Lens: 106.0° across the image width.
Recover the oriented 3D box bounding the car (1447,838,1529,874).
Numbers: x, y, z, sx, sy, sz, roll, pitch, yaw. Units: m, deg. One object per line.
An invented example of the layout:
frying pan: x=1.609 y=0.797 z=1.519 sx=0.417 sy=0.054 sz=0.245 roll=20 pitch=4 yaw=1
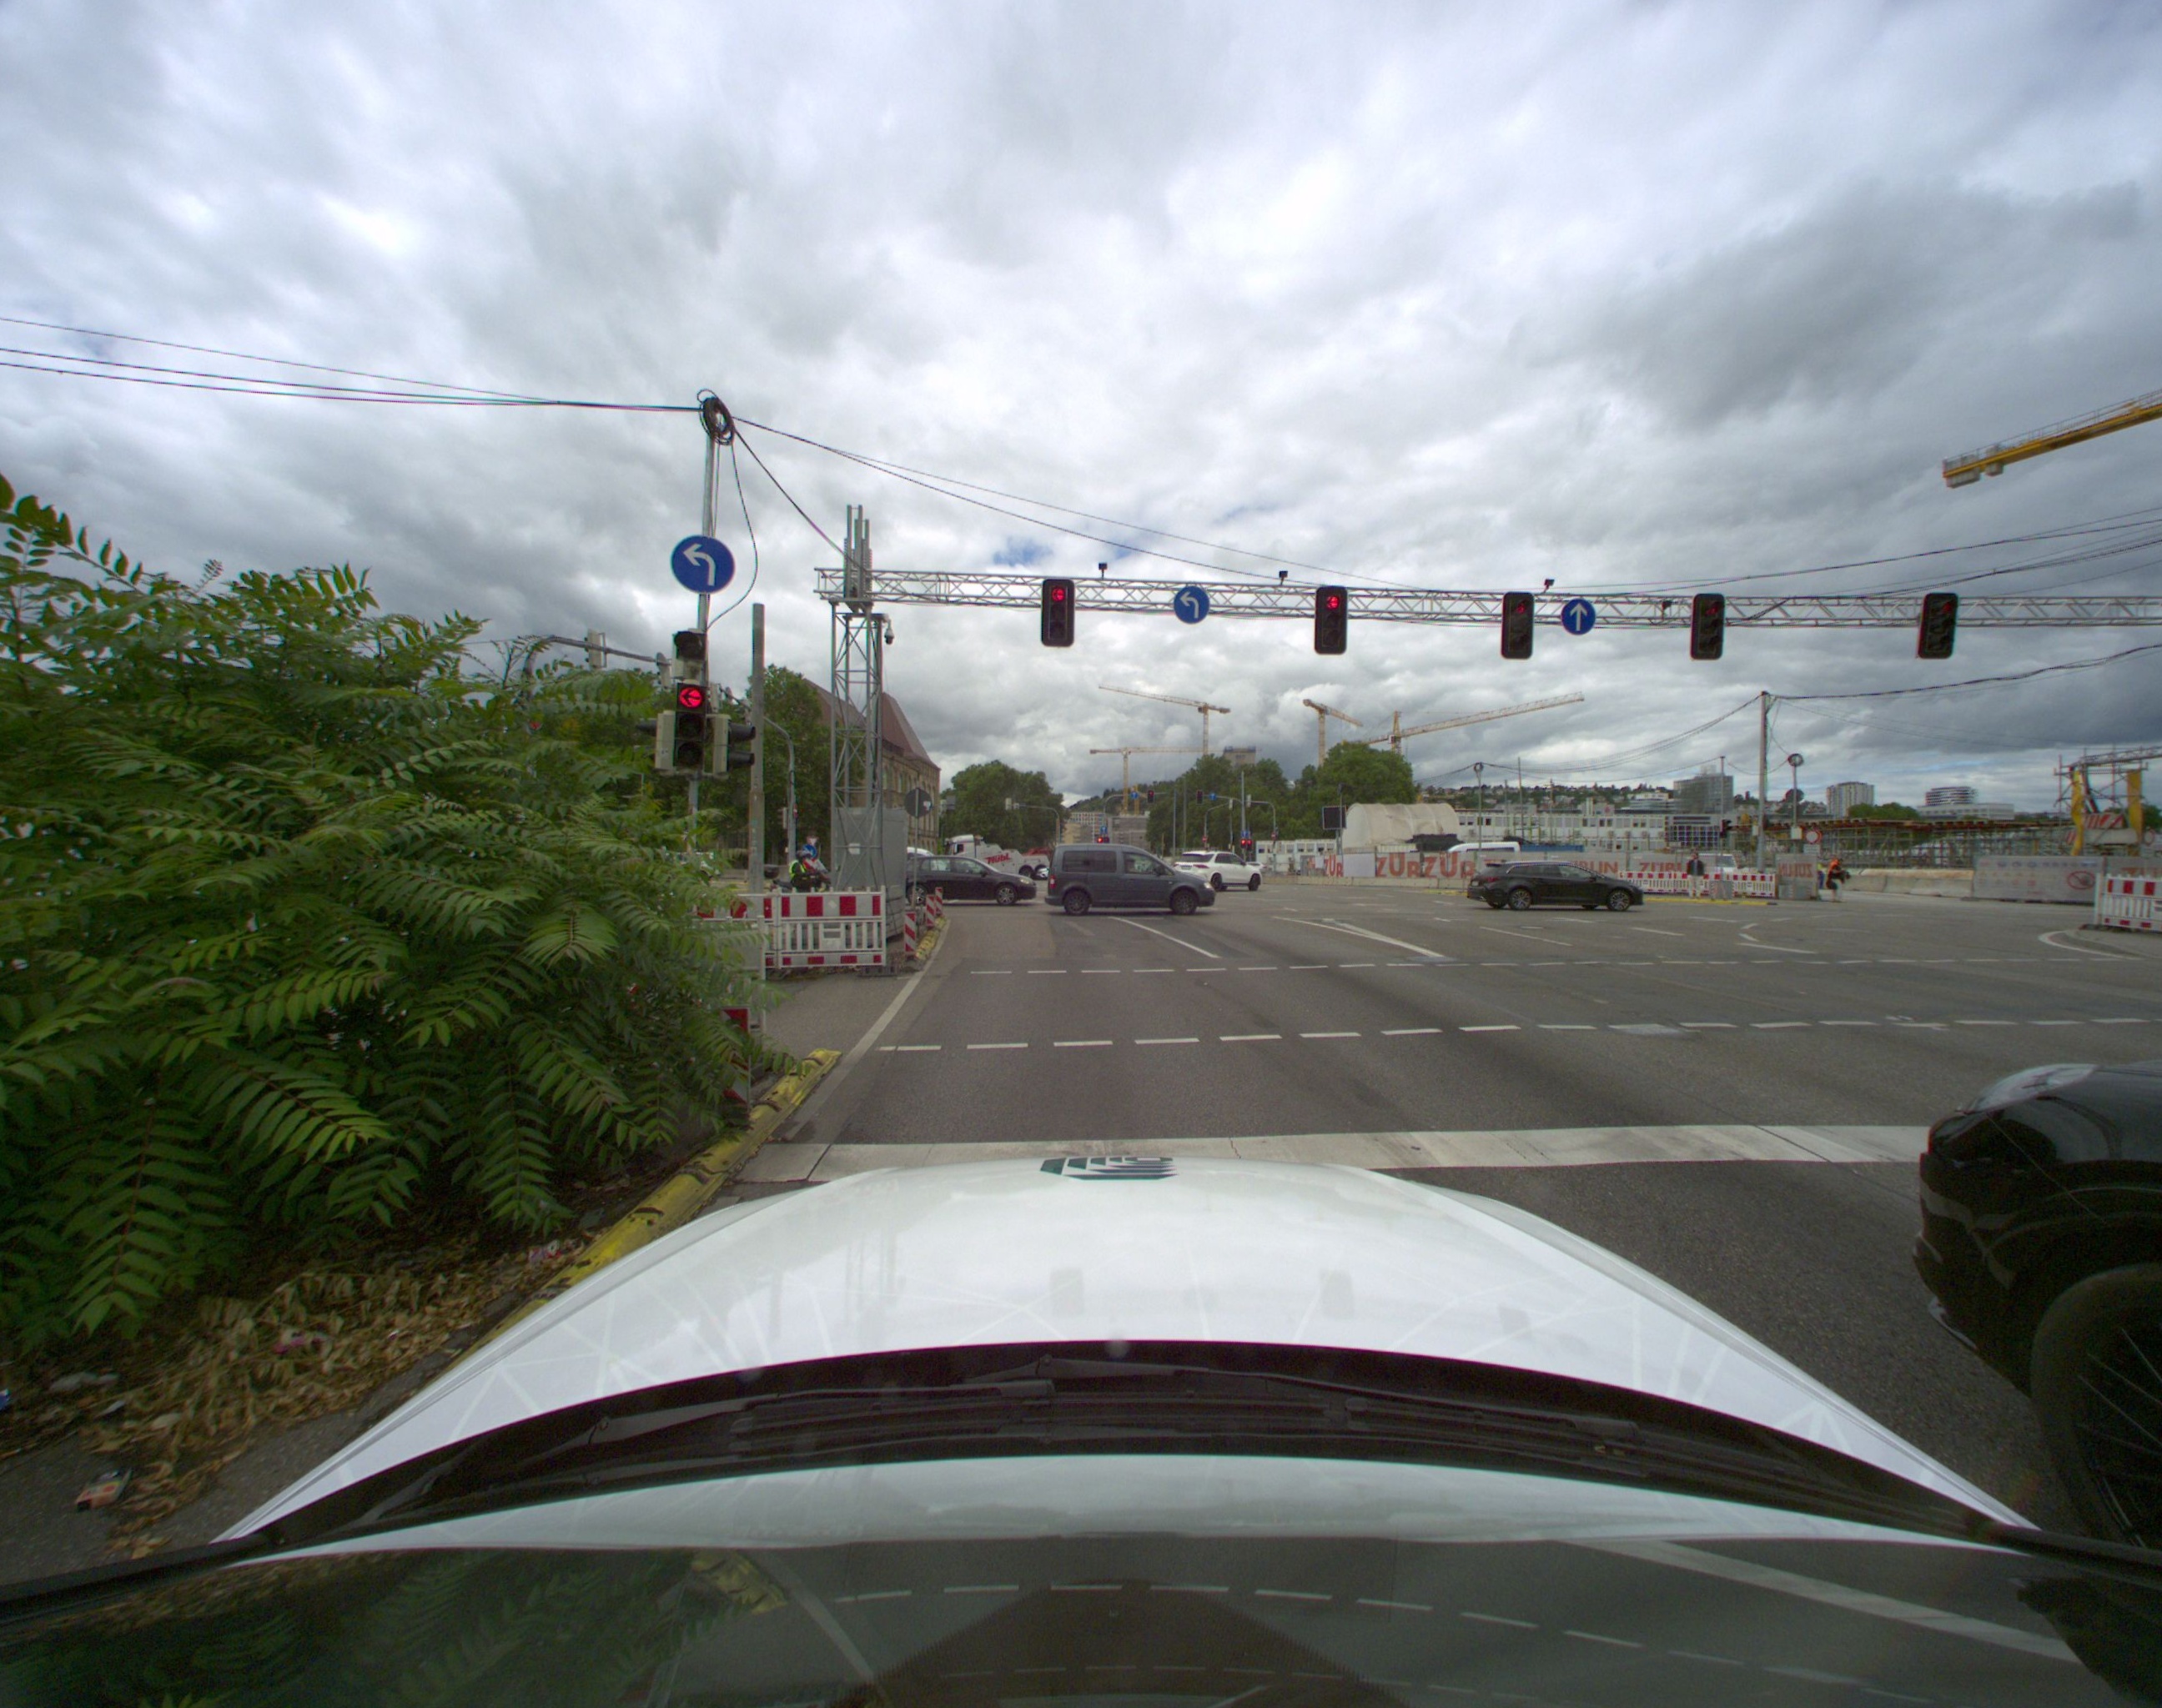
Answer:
car: x=23.463 y=0.122 z=47.106 sx=3.955 sy=2.014 sz=2.009 roll=-1 pitch=-1 yaw=17

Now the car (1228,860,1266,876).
car: x=18.135 y=1.515 z=89.128 sx=3.924 sy=1.673 sz=1.926 roll=-1 pitch=-1 yaw=15

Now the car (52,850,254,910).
car: x=-28.772 y=0.794 z=25.358 sx=3.975 sy=1.740 sz=1.909 roll=1 pitch=-1 yaw=-1

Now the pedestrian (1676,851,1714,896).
pedestrian: x=25.628 y=0.811 z=34.022 sx=1.035 sy=1.848 sz=0.794 roll=-1 pitch=-1 yaw=17

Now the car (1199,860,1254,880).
car: x=13.097 y=1.431 z=73.330 sx=4.602 sy=1.724 sz=1.895 roll=0 pitch=-1 yaw=-22

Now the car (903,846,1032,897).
car: x=-4.229 y=0.640 z=30.941 sx=4.696 sy=1.833 sz=1.868 roll=0 pitch=-1 yaw=-4

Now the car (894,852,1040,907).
car: x=-3.318 y=0.746 z=24.420 sx=4.096 sy=1.547 sz=1.998 roll=0 pitch=-1 yaw=-2

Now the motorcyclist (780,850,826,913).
motorcyclist: x=-7.114 y=0.700 z=20.862 sx=0.875 sy=1.571 sz=0.818 roll=0 pitch=-1 yaw=2

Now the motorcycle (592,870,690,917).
motorcycle: x=-11.285 y=1.006 z=20.909 sx=2.159 sy=1.155 sz=0.652 roll=0 pitch=-1 yaw=2

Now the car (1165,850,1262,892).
car: x=5.976 y=0.707 z=36.391 sx=1.975 sy=1.759 sz=4.531 roll=-1 pitch=-1 yaw=45

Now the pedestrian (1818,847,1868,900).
pedestrian: x=29.875 y=0.755 z=31.946 sx=1.035 sy=2.014 sz=1.039 roll=-1 pitch=-1 yaw=17

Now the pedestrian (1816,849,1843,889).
pedestrian: x=38.283 y=0.746 z=41.662 sx=0.673 sy=2.014 sz=0.869 roll=-1 pitch=-1 yaw=14

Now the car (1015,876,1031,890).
car: x=-7.910 y=3.917 z=111.256 sx=1.987 sy=1.838 sz=3.998 roll=0 pitch=-1 yaw=-1

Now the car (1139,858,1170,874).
car: x=8.894 y=1.452 z=99.179 sx=2.004 sy=1.838 sz=3.966 roll=0 pitch=-1 yaw=-26

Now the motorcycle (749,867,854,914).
motorcycle: x=-7.132 y=0.917 z=20.856 sx=2.413 sy=1.155 sz=0.818 roll=0 pitch=-1 yaw=2

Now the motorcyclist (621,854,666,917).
motorcyclist: x=-11.214 y=0.792 z=20.911 sx=0.783 sy=1.597 sz=0.652 roll=0 pitch=-1 yaw=2

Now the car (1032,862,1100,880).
car: x=-1.253 y=1.386 z=67.150 sx=5.153 sy=1.419 sz=2.221 roll=0 pitch=-1 yaw=-22

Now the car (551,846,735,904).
car: x=-13.663 y=0.645 z=25.618 sx=4.656 sy=1.702 sz=1.999 roll=0 pitch=-1 yaw=-1

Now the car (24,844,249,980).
car: x=-13.826 y=0.722 z=11.858 sx=4.314 sy=1.626 sz=1.898 roll=-1 pitch=-1 yaw=38

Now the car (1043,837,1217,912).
car: x=1.230 y=0.506 z=21.027 sx=4.254 sy=1.805 sz=2.000 roll=0 pitch=-1 yaw=1

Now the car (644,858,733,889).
car: x=-26.522 y=1.310 z=55.239 sx=5.140 sy=2.014 sz=2.066 roll=0 pitch=-1 yaw=-16

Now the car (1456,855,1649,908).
car: x=13.605 y=0.790 z=23.758 sx=4.466 sy=1.466 sz=2.004 roll=0 pitch=-1 yaw=7

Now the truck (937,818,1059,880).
truck: x=-6.918 y=-0.418 z=68.426 sx=9.750 sy=4.961 sz=3.092 roll=0 pitch=-1 yaw=-21

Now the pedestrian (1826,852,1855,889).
pedestrian: x=39.171 y=0.839 z=42.001 sx=0.677 sy=1.916 sz=0.865 roll=0 pitch=-1 yaw=-4

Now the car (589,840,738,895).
car: x=-14.739 y=0.448 z=28.917 sx=4.226 sy=1.833 sz=2.002 roll=-1 pitch=2 yaw=2
